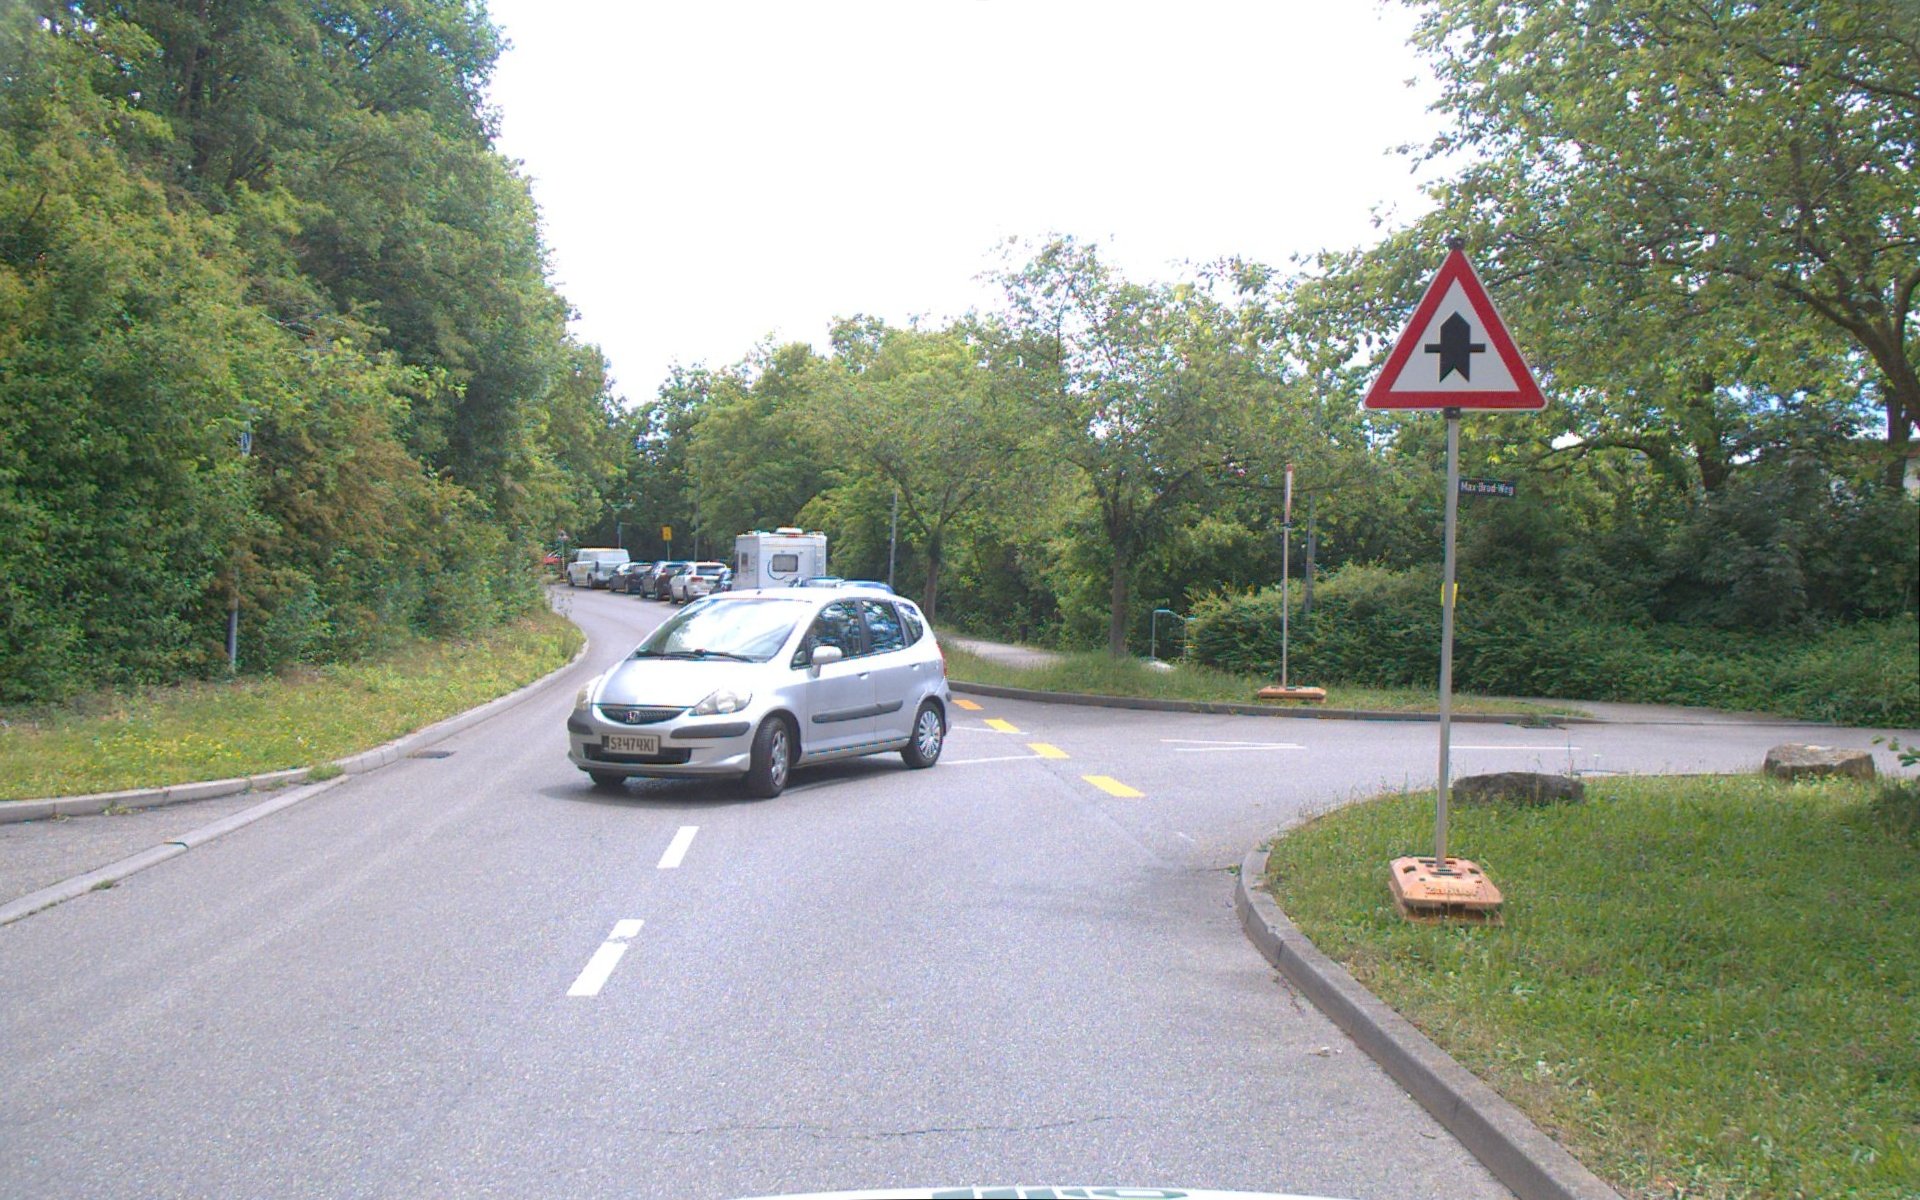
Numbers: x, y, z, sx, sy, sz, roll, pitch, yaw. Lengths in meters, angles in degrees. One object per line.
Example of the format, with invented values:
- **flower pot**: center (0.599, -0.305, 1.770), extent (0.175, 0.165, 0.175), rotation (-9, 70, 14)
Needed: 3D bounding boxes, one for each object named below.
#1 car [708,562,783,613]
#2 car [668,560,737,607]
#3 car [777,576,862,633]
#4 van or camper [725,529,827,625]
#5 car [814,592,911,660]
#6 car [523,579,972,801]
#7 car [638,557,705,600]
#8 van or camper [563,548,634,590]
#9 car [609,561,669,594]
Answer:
- **car**: center (-7.838, -0.484, 60.197), extent (1.687, 1.618, 3.976), rotation (-7, 4, -21)
- **car**: center (-10.444, -0.694, 66.902), extent (1.844, 1.718, 4.552), rotation (1, 2, -21)
- **car**: center (-4.038, 0.101, 47.064), extent (1.701, 1.545, 3.872), rotation (-1, 0, -16)
- **van or camper**: center (-6.130, -0.796, 54.474), extent (2.295, 2.919, 6.124), rotation (1, 1, -16)
- **car**: center (-2.421, 0.585, 40.104), extent (1.744, 1.459, 4.321), rotation (0, 1, -12)
- **car**: center (-1.545, 0.628, 13.292), extent (1.806, 1.481, 3.647), rotation (1, 0, 28)
- **car**: center (-12.624, -0.959, 72.212), extent (1.967, 1.654, 4.248), rotation (-2, 4, -23)
- **van or camper**: center (-18.296, -1.595, 83.584), extent (1.973, 1.953, 5.212), rotation (-1, 3, -31)
- **car**: center (-15.273, -1.091, 78.474), extent (1.777, 1.489, 3.965), rotation (0, 2, -27)
